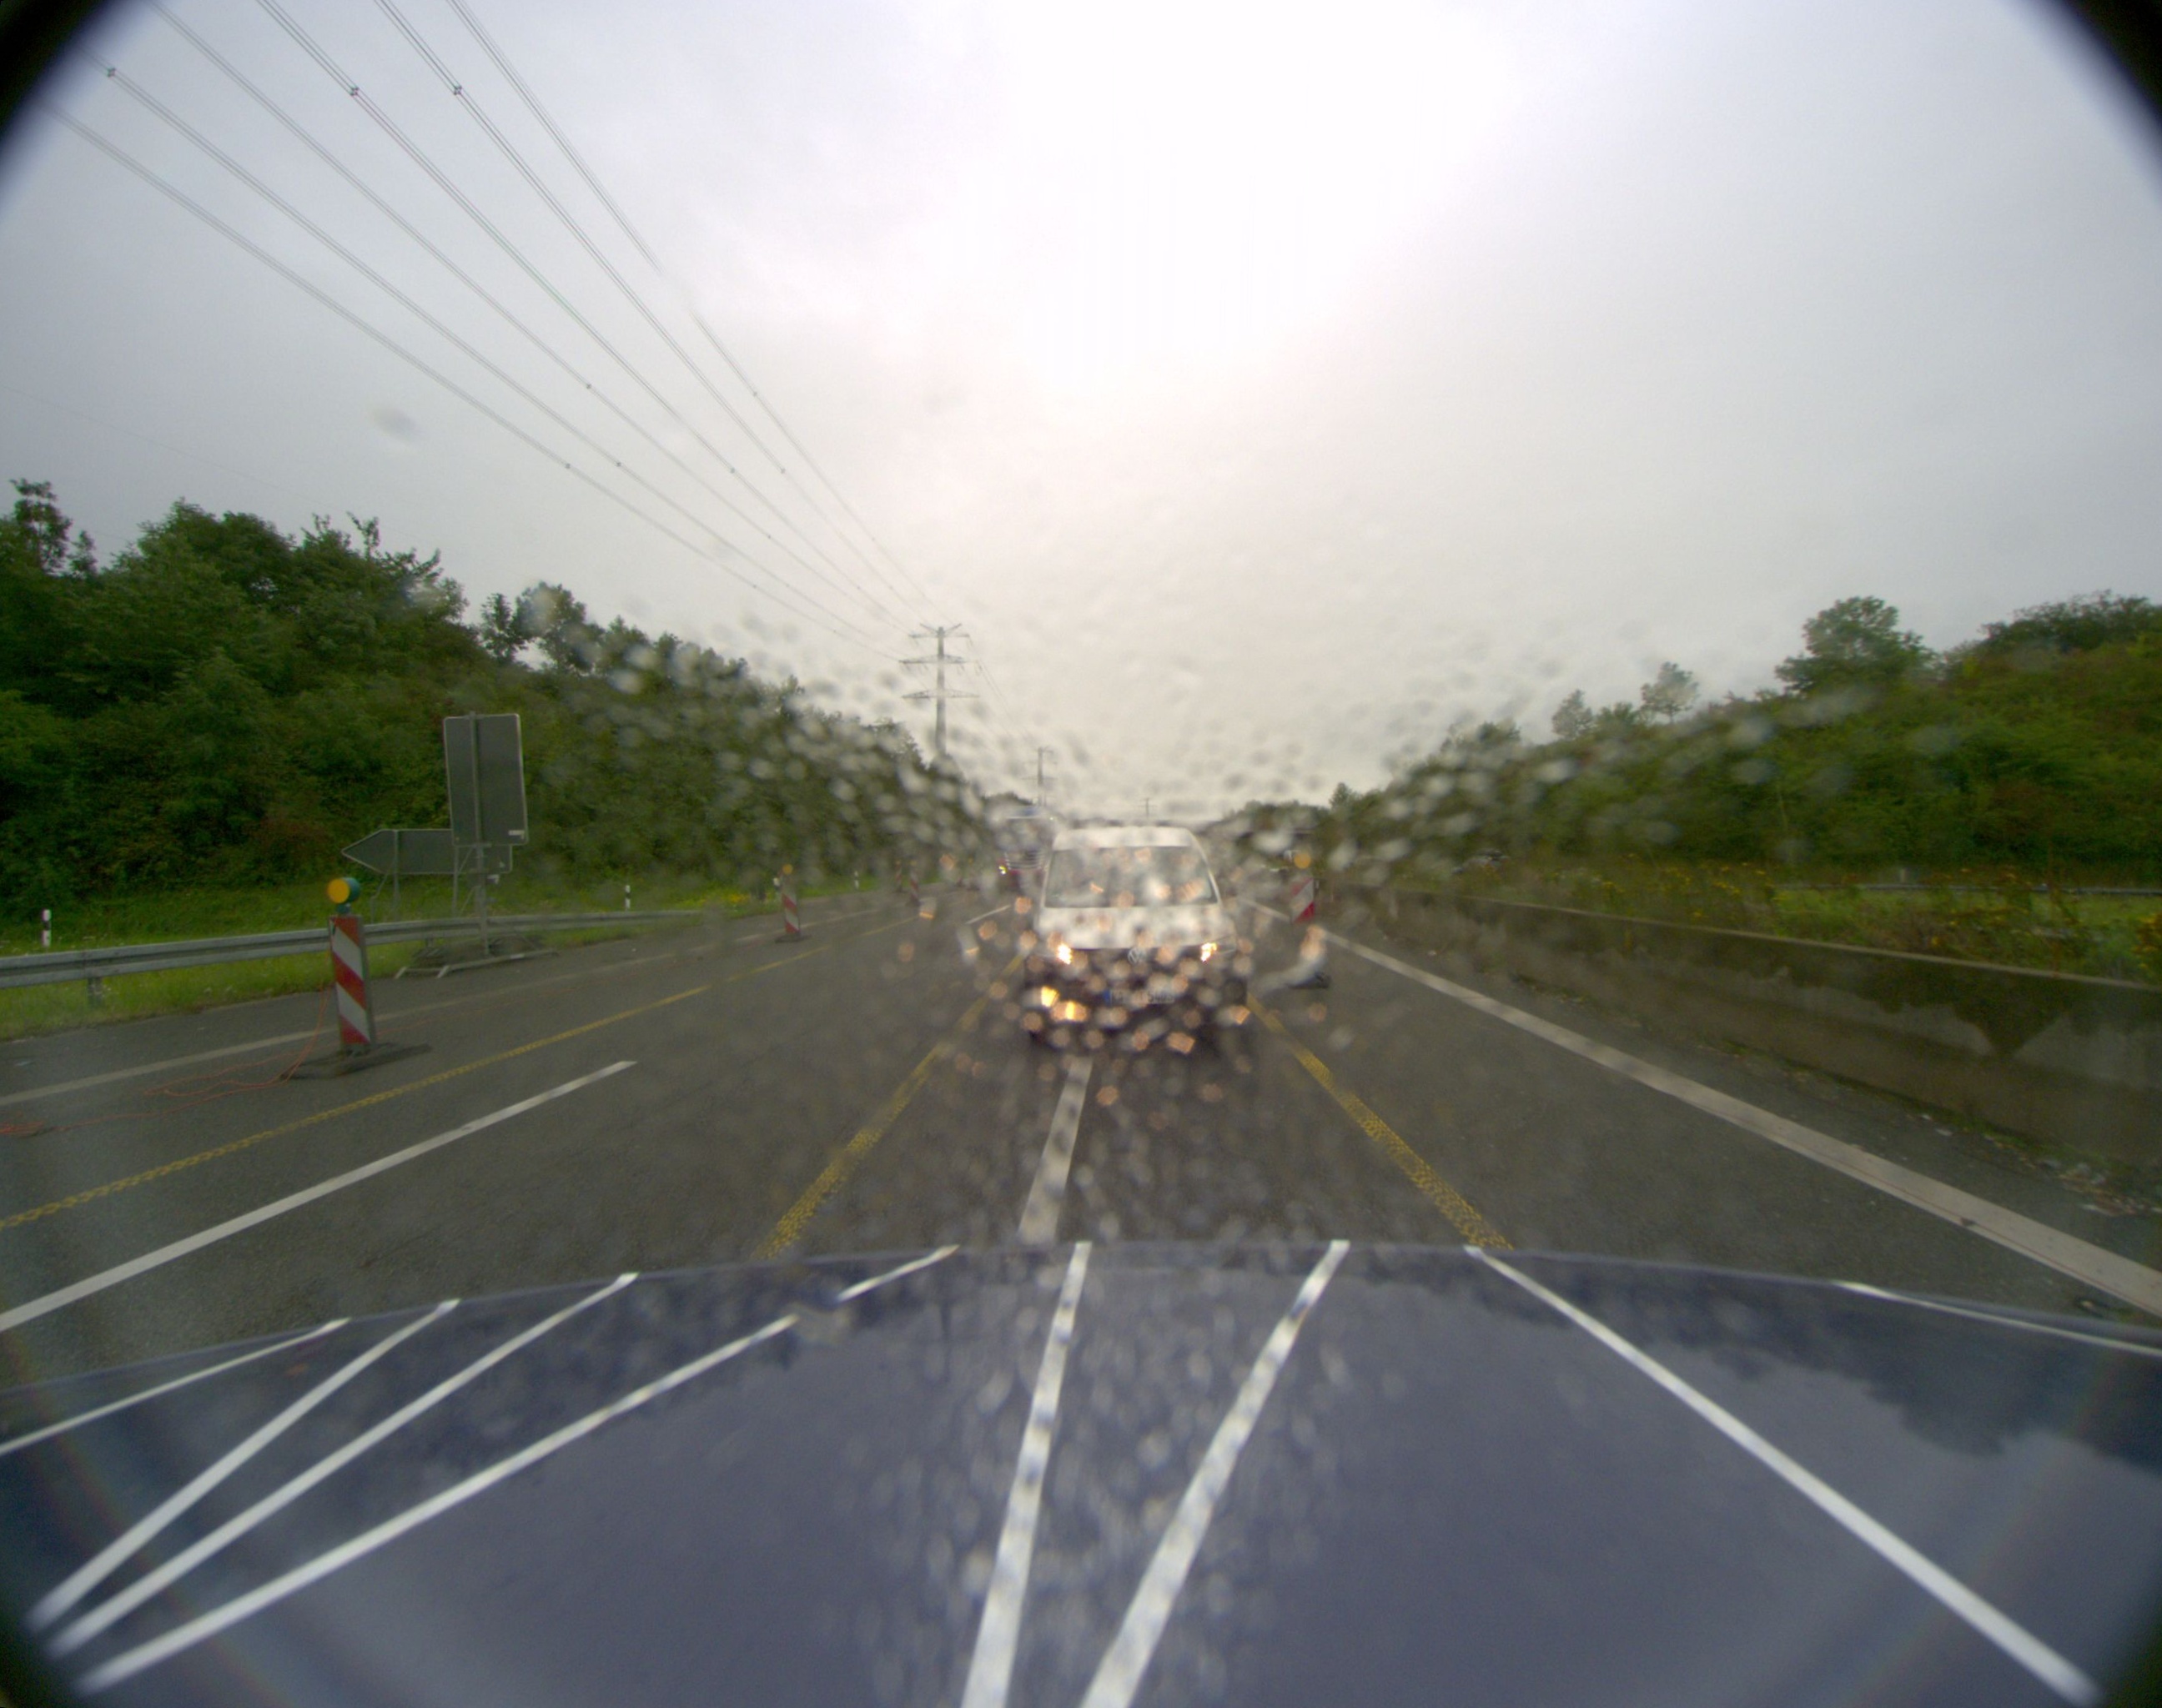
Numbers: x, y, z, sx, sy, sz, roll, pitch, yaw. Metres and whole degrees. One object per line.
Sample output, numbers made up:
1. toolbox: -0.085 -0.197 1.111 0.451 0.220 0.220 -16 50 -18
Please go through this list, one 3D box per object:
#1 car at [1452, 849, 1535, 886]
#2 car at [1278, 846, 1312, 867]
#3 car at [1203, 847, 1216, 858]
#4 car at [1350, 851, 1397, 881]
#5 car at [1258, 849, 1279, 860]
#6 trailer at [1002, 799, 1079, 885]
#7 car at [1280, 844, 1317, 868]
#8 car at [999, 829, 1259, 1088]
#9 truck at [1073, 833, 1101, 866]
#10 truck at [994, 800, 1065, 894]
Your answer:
1. car: 20.821 0.631 38.542 1.998 1.779 4.229 0 0 1
2. car: 17.405 0.165 61.976 1.872 1.640 4.001 0 0 4
3. car: 28.453 -0.294 168.675 2.244 2.426 5.885 0 0 4
4. car: 16.889 0.659 44.053 1.455 1.523 3.661 -2 1 4
5. car: 25.345 0.117 102.593 1.998 1.471 4.109 0 0 2
6. trailer: -1.870 -0.660 40.529 2.525 3.812 12.352 -2 1 4
7. car: 17.634 0.161 61.859 1.998 1.791 4.000 -2 1 3
8. car: 0.391 0.734 7.704 1.770 1.774 4.647 -2 0 1
9. truck: 0.800 -0.636 96.414 2.746 3.912 5.399 -2 1 7
10. truck: -2.252 -0.326 34.652 2.553 3.924 4.000 -2 1 4
